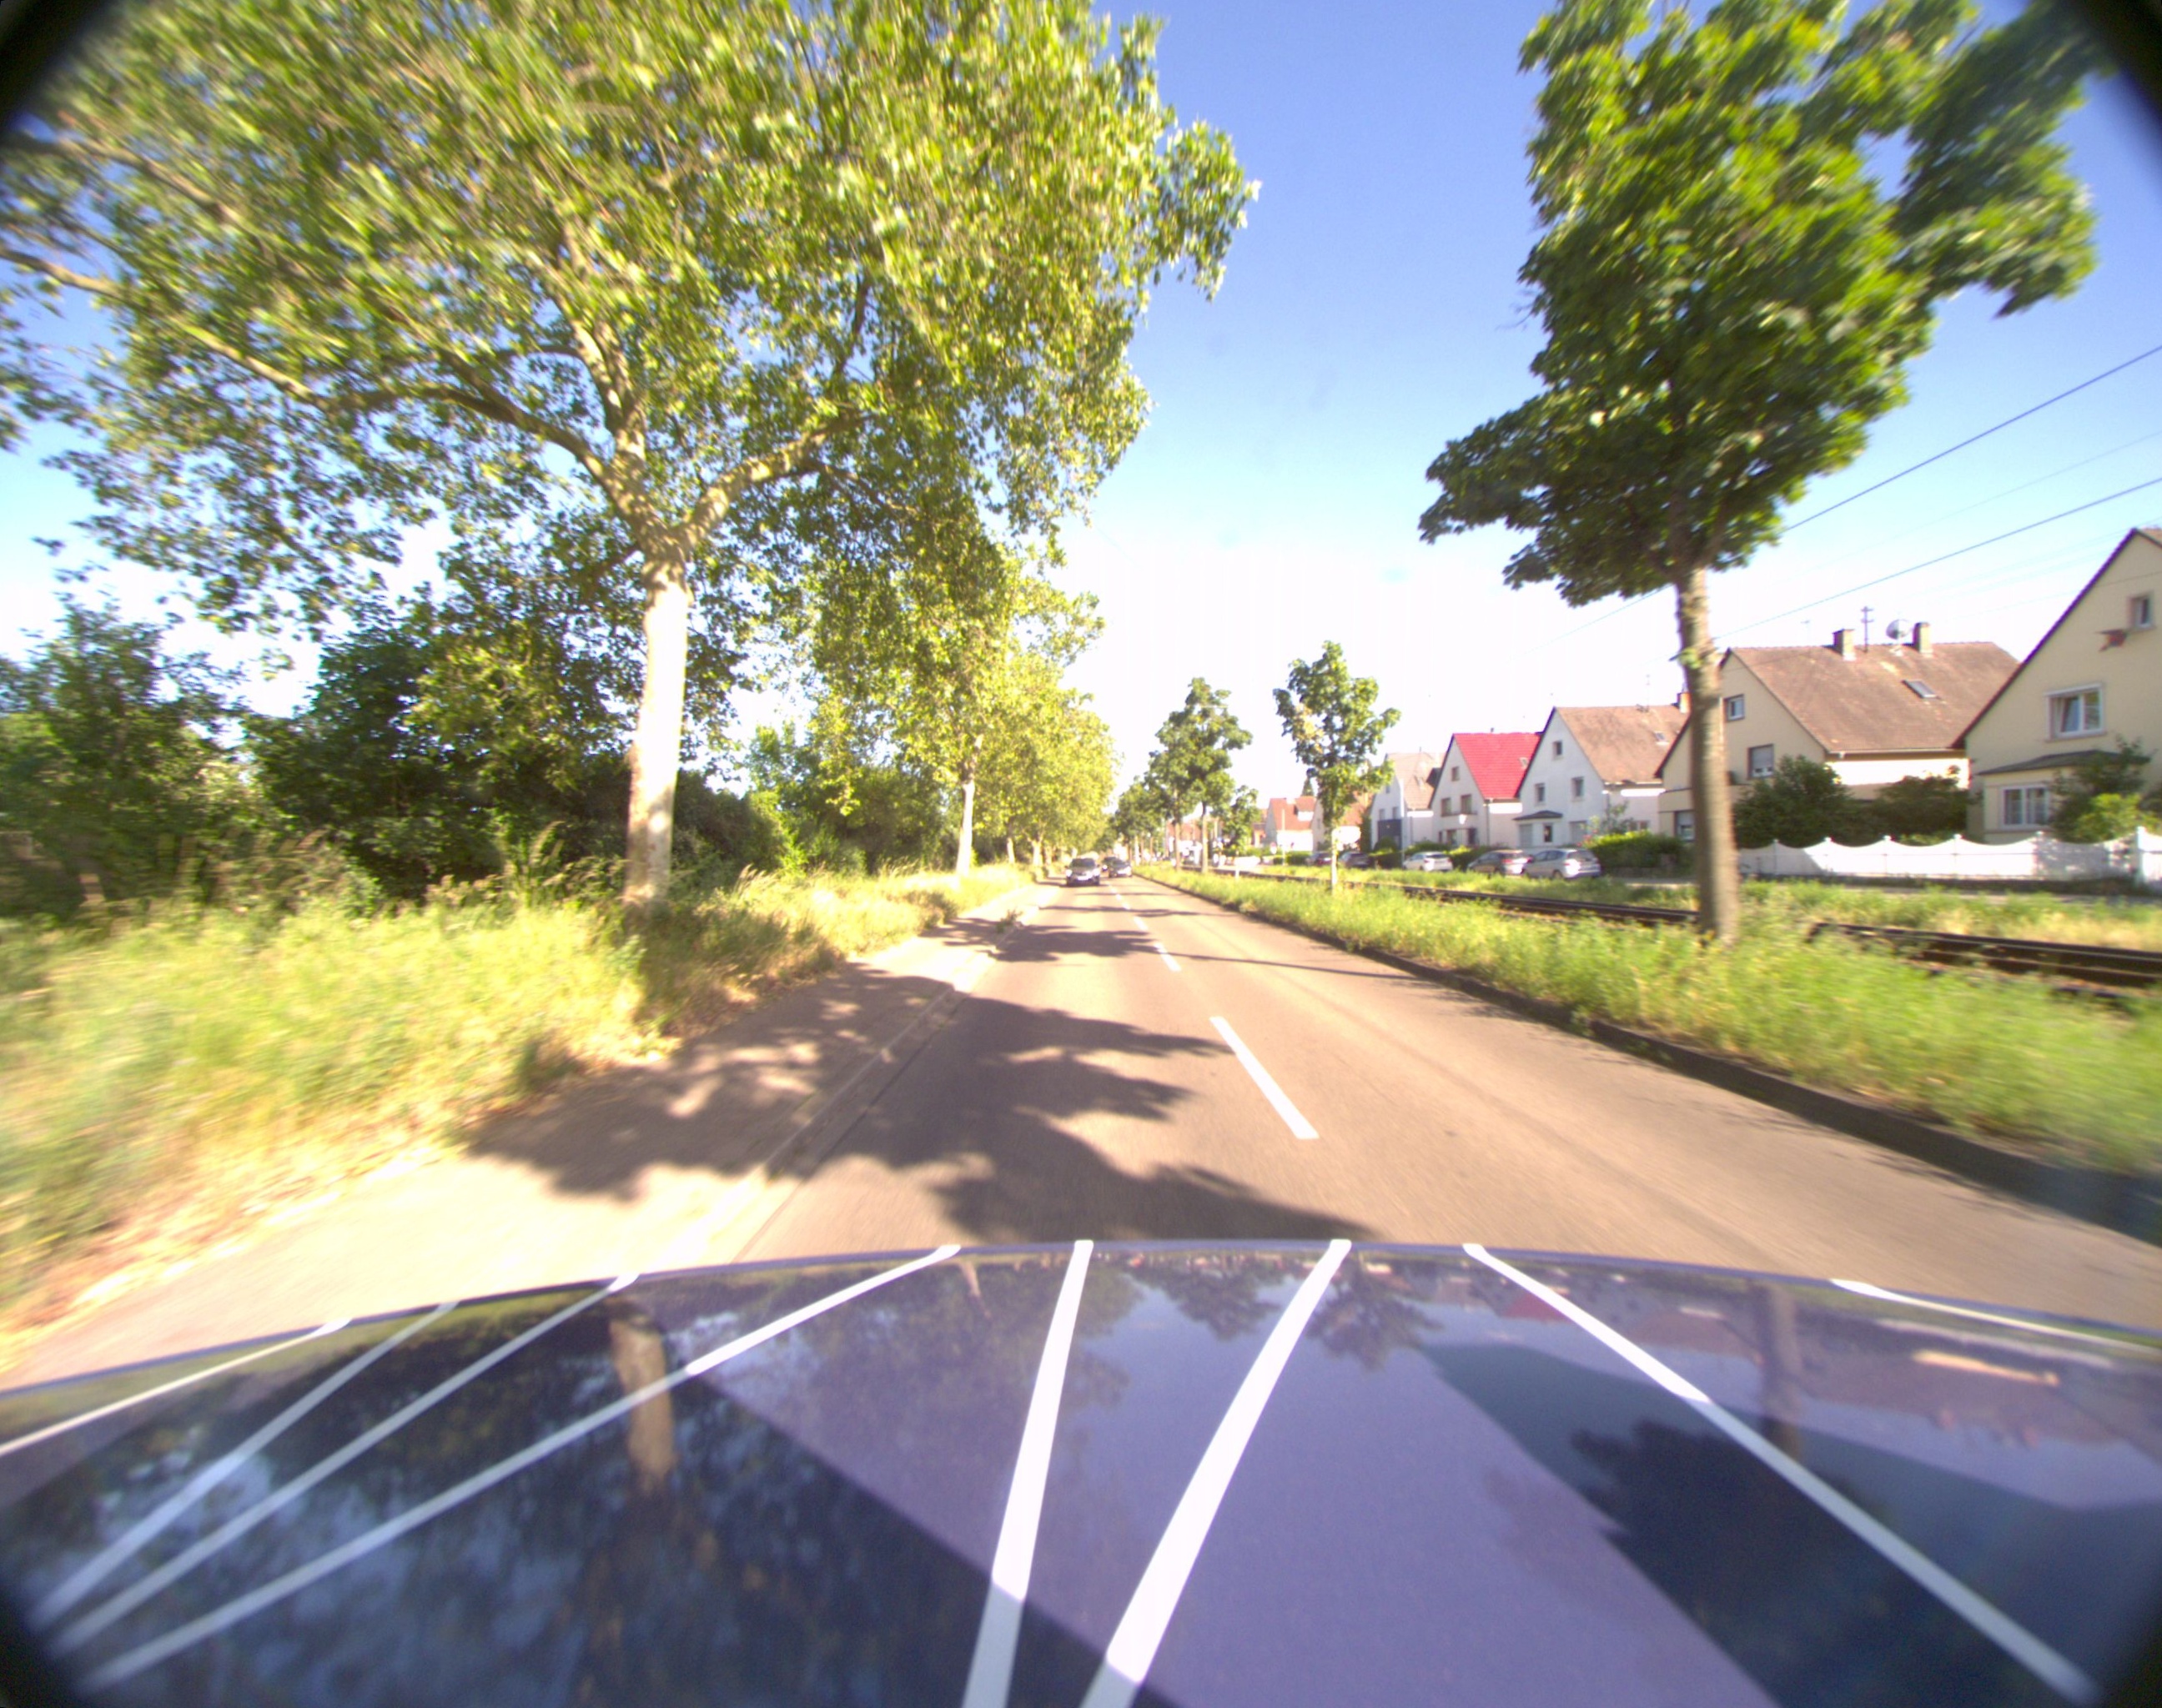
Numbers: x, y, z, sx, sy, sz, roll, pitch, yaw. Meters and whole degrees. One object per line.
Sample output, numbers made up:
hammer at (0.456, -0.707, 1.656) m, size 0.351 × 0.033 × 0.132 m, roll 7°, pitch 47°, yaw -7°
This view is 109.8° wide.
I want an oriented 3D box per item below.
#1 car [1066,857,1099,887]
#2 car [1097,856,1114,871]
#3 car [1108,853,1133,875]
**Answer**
car at (0.115, 0.938, 41.938) m, size 1.692 × 1.499 × 3.582 m, roll -2°, pitch 0°, yaw 1°
car at (2.617, 0.985, 81.817) m, size 1.692 × 1.499 × 3.582 m, roll -3°, pitch 0°, yaw 1°
car at (2.957, 0.733, 57.722) m, size 1.692 × 1.499 × 3.582 m, roll -3°, pitch 0°, yaw 1°
